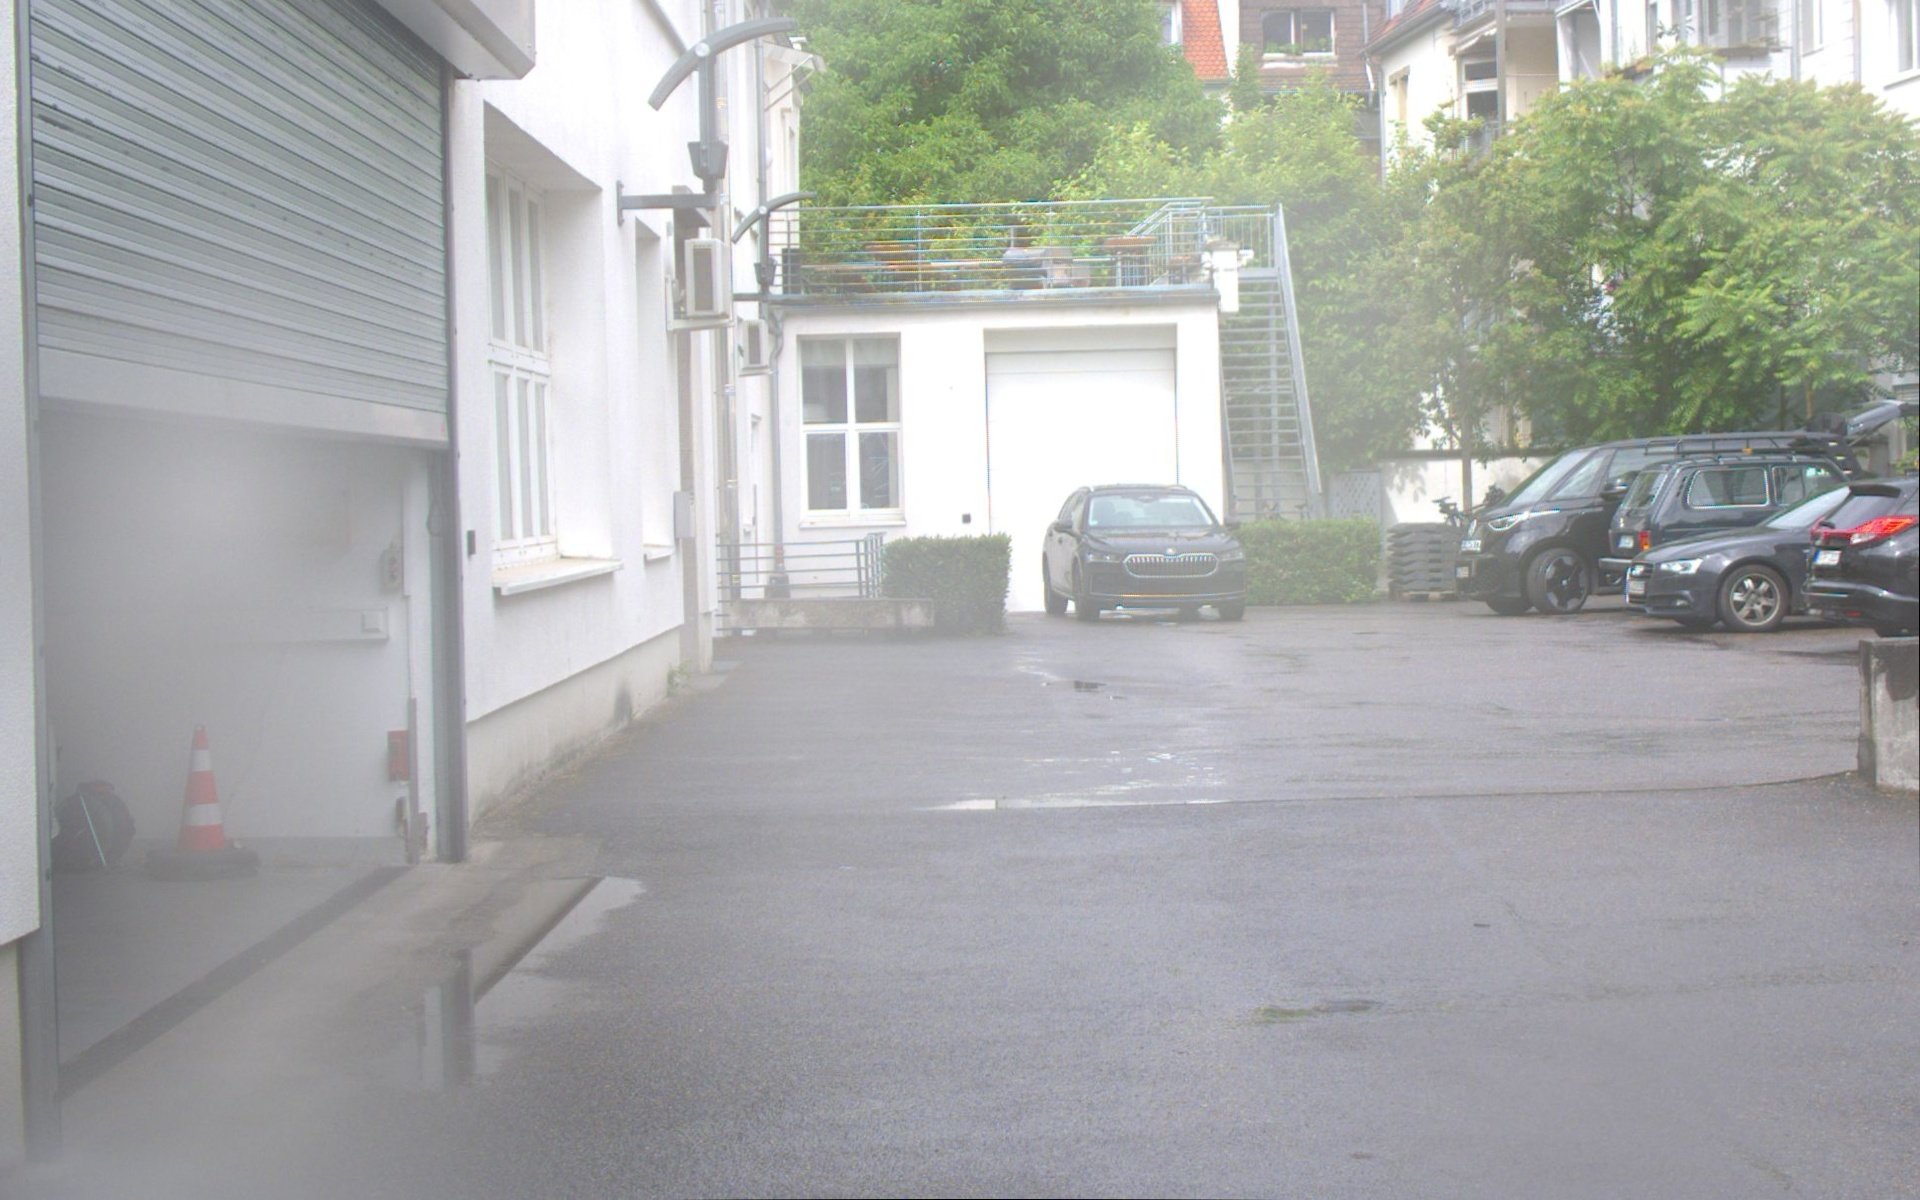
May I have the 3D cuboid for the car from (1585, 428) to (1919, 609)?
[{"bbox_3d":[8.622,-0.867,35.506,3.908,1.681,1.817,-3,1,-1],"label":"car"}]

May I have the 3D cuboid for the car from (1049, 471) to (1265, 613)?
[{"bbox_3d":[2.113,-0.680,37.884,1.979,1.439,4.001,-1,2,-2],"label":"car"}]

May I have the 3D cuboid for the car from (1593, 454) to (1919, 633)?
[{"bbox_3d":[8.116,-0.573,32.225,3.908,1.508,1.752,-3,2,-5],"label":"car"}]

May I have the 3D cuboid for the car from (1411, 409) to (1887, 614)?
[{"bbox_3d":[7.631,-1.010,38.277,4.634,1.996,2.226,-3,3,-10],"label":"car"}]

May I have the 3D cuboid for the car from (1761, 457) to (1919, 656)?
[{"bbox_3d":[8.699,-0.441,27.740,3.908,1.508,1.820,-3,2,-7],"label":"car"}]
